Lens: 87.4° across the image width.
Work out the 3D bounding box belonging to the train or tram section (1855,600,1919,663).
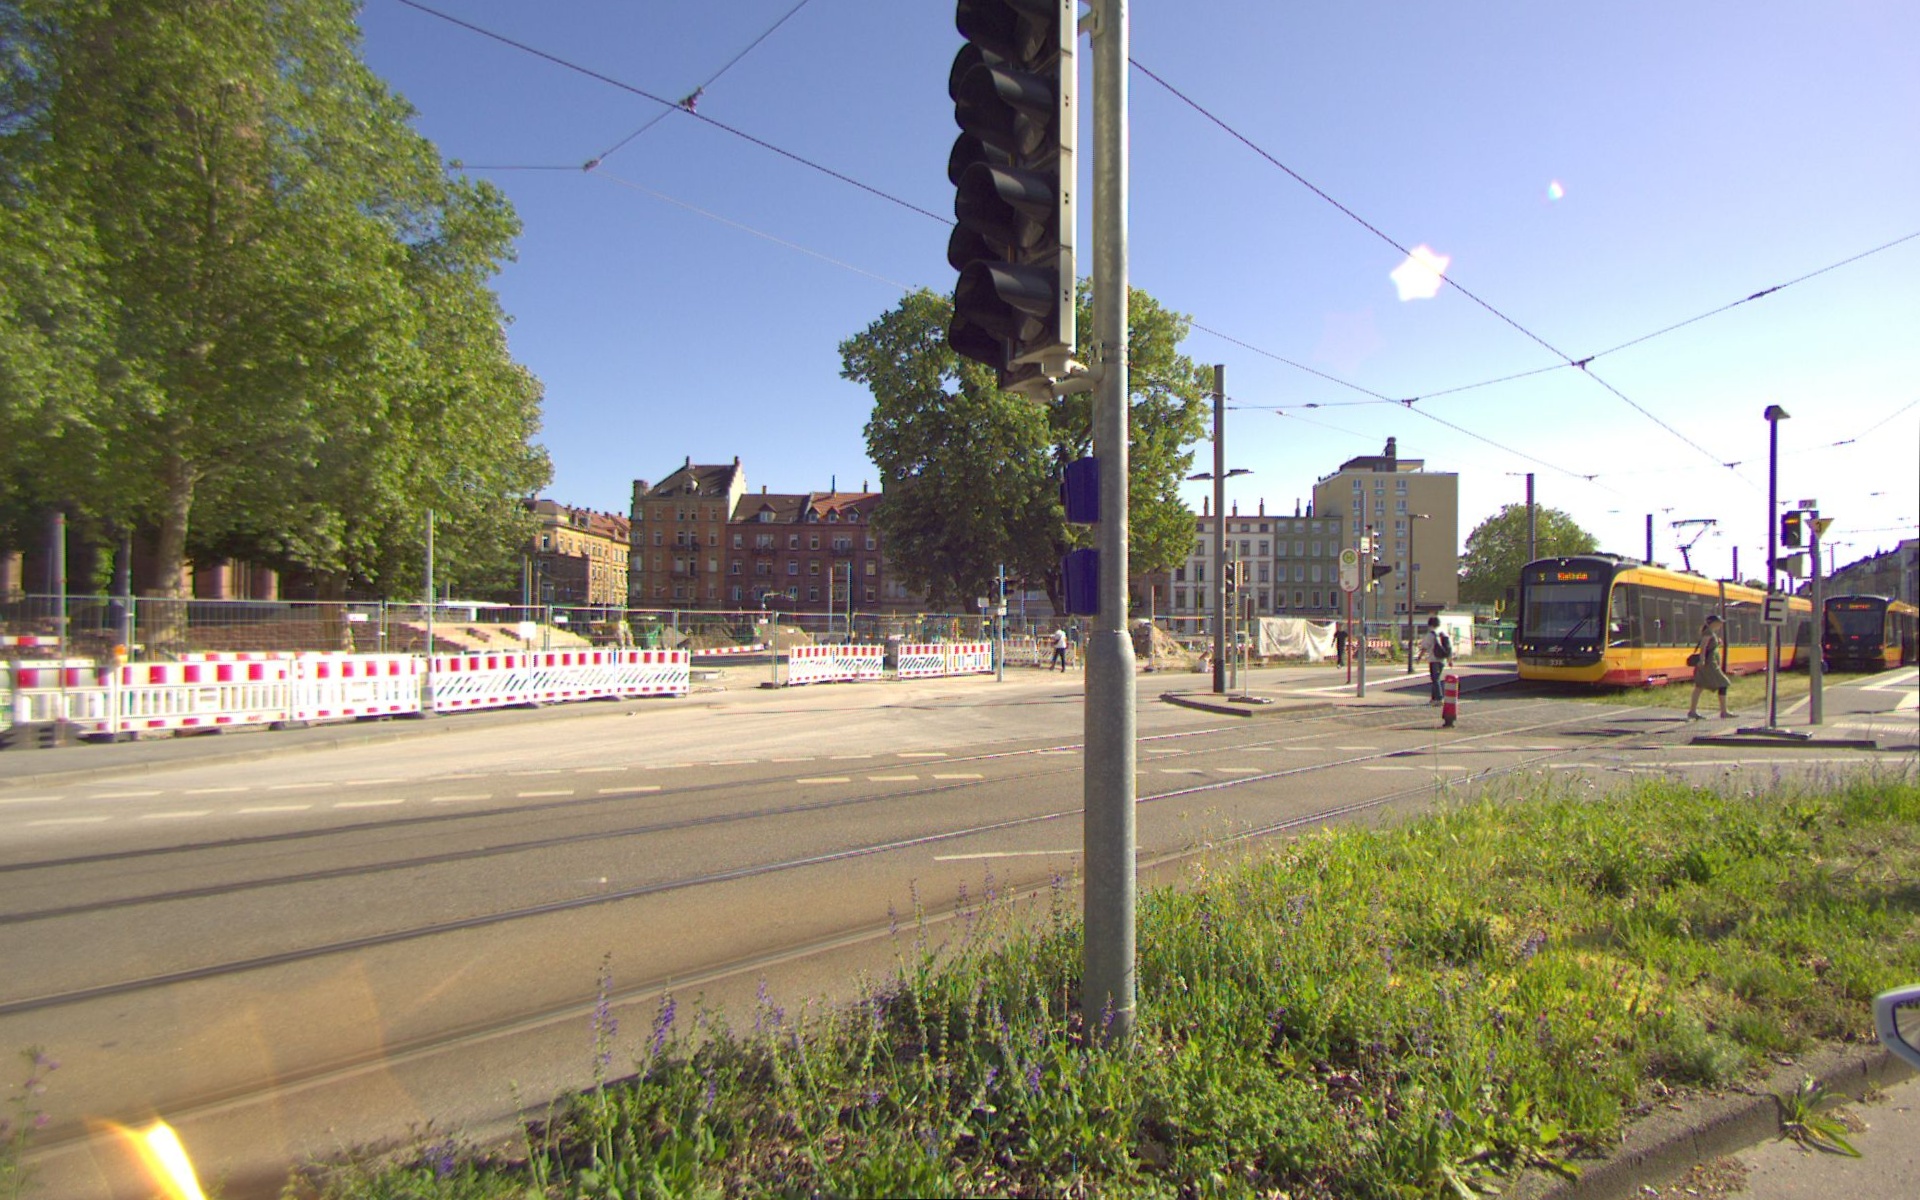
[{"bbox_3d":[57.376,1.935,61.697,10.472,3.554,2.843,2,-1,-44],"label":"train or tram section"}]

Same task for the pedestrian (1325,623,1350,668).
[{"bbox_3d":[15.216,1.824,40.487,0.795,1.791,0.661,2,-2,-45],"label":"pedestrian"}]

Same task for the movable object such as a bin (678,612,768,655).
[{"bbox_3d":[-16.974,2.402,72.195,5.968,2.795,1.894,2,-1,-3],"label":"movable object such as a bin"}]

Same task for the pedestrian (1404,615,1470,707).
[{"bbox_3d":[9.924,1.251,20.915,0.753,1.856,1.009,2,-2,-35],"label":"pedestrian"}]

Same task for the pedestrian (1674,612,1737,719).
[{"bbox_3d":[13.628,1.168,18.359,0.888,1.875,0.760,-1,1,39],"label":"pedestrian"}]

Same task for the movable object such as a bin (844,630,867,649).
[{"bbox_3d":[-10.044,3.793,96.845,1.716,1.702,3.802,0,-1,2],"label":"movable object such as a bin"}]

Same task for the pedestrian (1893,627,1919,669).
[{"bbox_3d":[44.200,2.252,46.937,0.756,1.908,0.838,3,-1,-45],"label":"pedestrian"}]

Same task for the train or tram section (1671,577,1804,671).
[{"bbox_3d":[33.300,1.045,42.782,11.132,3.554,2.790,2,-1,-43],"label":"train or tram section"}]

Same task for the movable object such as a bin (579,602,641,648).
[{"bbox_3d":[-26.305,1.859,75.775,3.060,3.214,5.244,2,-1,-5],"label":"movable object such as a bin"}]

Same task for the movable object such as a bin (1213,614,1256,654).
[{"bbox_3d":[20.647,2.527,75.701,1.798,2.833,3.997,2,-1,-5],"label":"movable object such as a bin"}]

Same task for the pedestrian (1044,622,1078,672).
[{"bbox_3d":[3.699,1.720,36.918,0.855,1.791,0.966,1,-2,-30],"label":"pedestrian"}]

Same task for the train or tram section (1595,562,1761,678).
[{"bbox_3d":[25.505,0.748,35.368,10.537,3.554,2.790,2,-1,-43],"label":"train or tram section"}]

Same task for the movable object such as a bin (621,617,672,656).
[{"bbox_3d":[-20.073,2.327,64.543,1.857,2.377,4.230,2,-1,0],"label":"movable object such as a bin"}]

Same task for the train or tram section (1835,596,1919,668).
[{"bbox_3d":[49.851,1.729,54.402,10.472,3.554,2.843,2,-2,-44],"label":"train or tram section"}]

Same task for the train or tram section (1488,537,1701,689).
[{"bbox_3d":[18.064,0.466,28.155,10.411,3.554,2.789,2,-2,-45],"label":"train or tram section"}]

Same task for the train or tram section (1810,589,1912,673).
[{"bbox_3d":[42.333,1.443,47.049,10.472,3.554,2.843,2,-2,-44],"label":"train or tram section"}]
